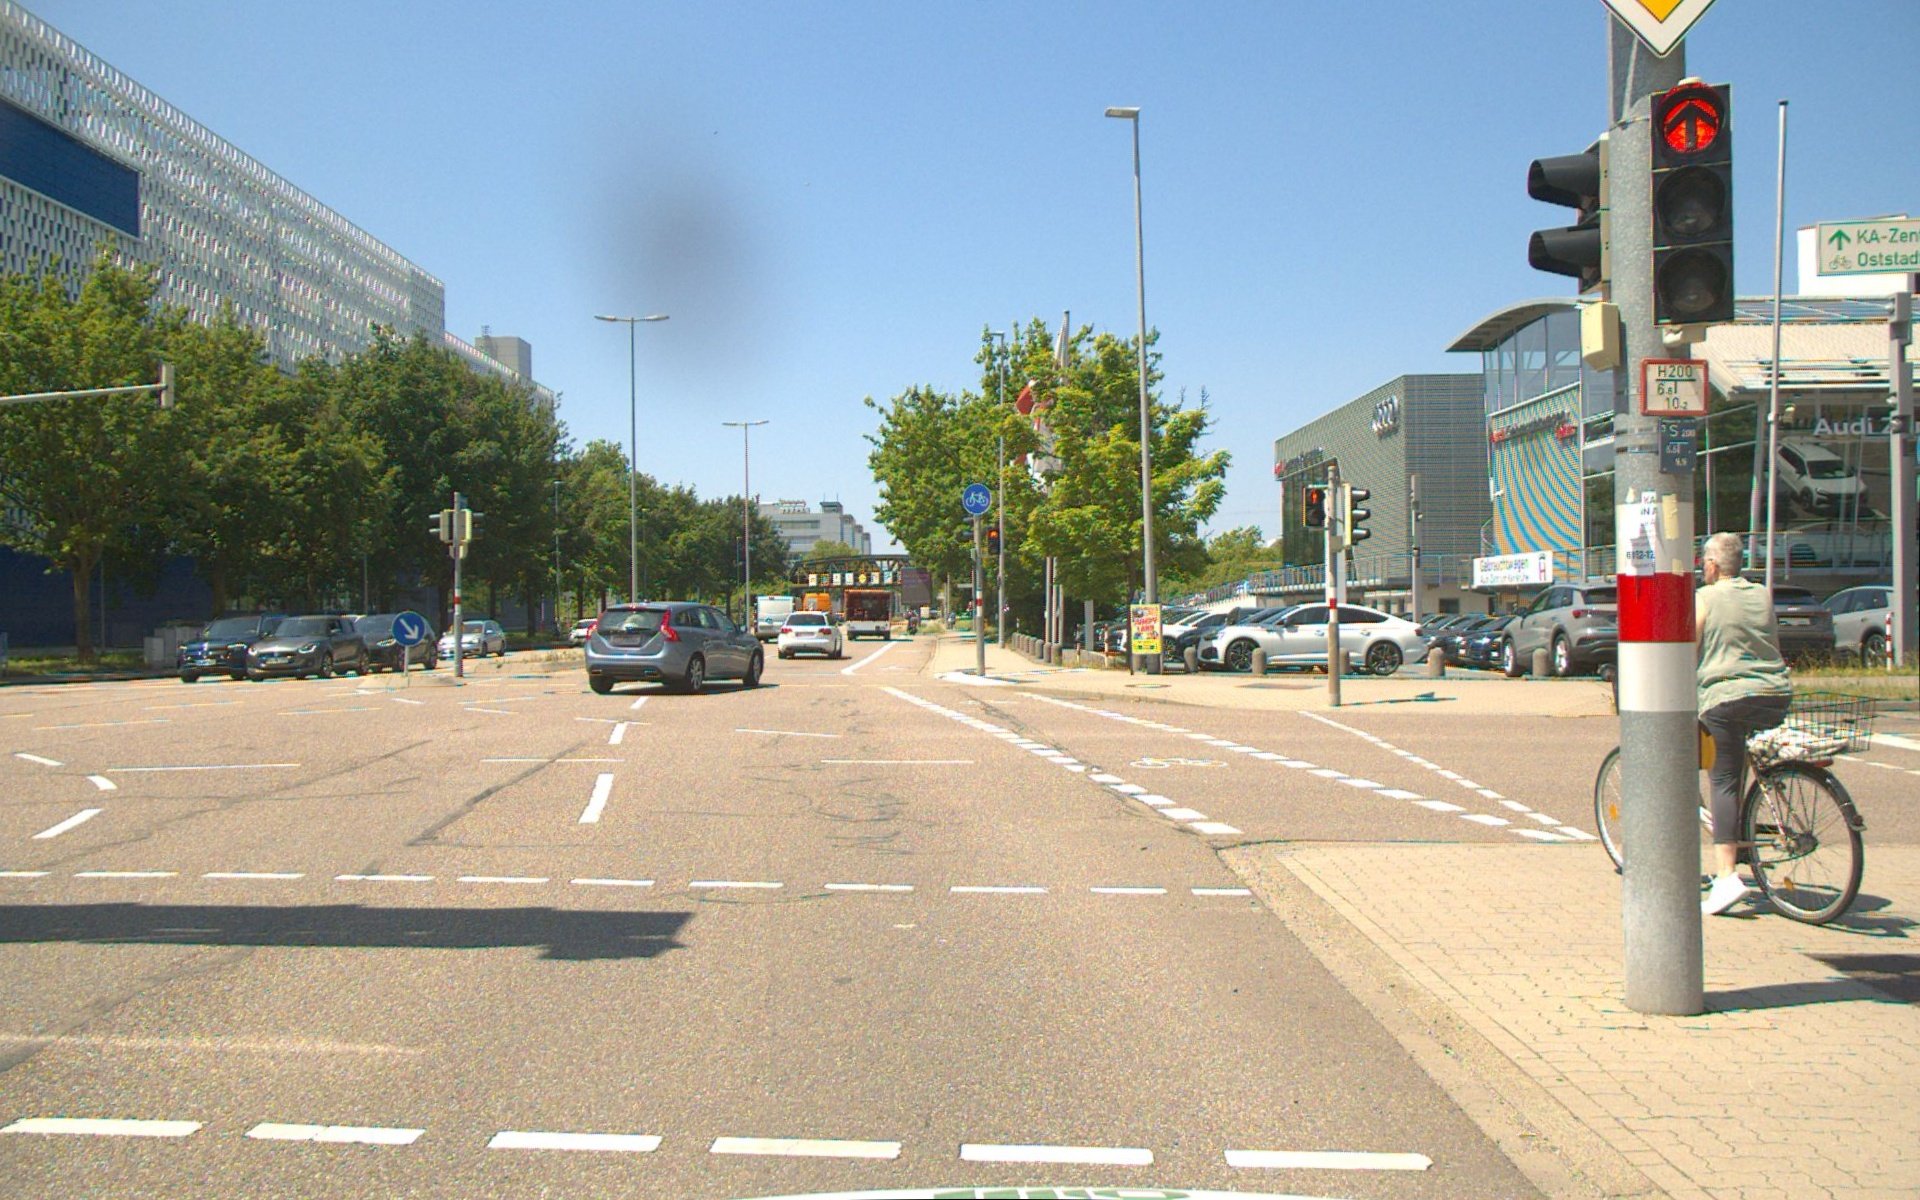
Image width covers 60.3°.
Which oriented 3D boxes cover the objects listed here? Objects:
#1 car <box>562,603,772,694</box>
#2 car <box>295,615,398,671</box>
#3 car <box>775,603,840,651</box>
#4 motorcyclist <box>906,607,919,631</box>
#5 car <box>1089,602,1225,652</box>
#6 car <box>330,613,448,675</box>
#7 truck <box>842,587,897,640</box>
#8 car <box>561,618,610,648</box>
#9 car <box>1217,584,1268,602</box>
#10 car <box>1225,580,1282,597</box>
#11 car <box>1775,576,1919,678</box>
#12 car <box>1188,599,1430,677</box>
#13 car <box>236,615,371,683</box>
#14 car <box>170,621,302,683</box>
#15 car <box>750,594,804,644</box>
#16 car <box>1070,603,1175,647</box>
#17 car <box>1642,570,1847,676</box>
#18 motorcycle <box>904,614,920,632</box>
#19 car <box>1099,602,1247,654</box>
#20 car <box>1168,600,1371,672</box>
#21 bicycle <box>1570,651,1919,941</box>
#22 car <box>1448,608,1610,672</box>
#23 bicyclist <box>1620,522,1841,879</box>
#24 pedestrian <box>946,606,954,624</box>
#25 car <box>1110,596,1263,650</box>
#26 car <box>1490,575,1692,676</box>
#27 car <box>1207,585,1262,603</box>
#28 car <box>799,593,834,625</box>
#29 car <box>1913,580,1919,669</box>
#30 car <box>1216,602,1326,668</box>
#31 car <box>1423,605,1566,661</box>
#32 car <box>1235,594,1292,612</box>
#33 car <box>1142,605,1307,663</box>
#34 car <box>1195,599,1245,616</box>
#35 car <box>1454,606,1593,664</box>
[{"bbox_3d":[-4.819,0.775,27.866,1.860,1.400,4.234,-1,0,15],"label":"car"},{"bbox_3d":[-18.604,1.290,50.323,1.691,1.571,3.914,-2,-1,-1],"label":"car"},{"bbox_3d":[-4.623,0.802,50.419,1.708,1.420,3.528,0,0,-1],"label":"car"},{"bbox_3d":[-3.065,1.207,105.861,0.706,1.556,0.868,1,-1,-11],"label":"motorcyclist"},{"bbox_3d":[6.182,0.832,52.083,4.017,1.429,1.868,2,-1,-1],"label":"car"},{"bbox_3d":[-15.393,1.169,44.796,1.691,1.531,4.243,-3,-1,0],"label":"car"},{"bbox_3d":[-4.417,0.646,81.748,2.408,2.452,7.132,1,0,-1],"label":"truck"},{"bbox_3d":[-19.654,1.722,86.996,1.708,1.512,3.999,-2,-1,-1],"label":"car"},{"bbox_3d":[21.341,-0.493,125.060,3.455,1.261,1.675,1,-1,-5],"label":"car"},{"bbox_3d":[21.480,-0.853,121.119,3.862,1.232,1.715,0,-1,-5],"label":"car"},{"bbox_3d":[16.439,0.484,29.244,1.808,1.683,3.994,2,-1,-5],"label":"car"},{"bbox_3d":[6.963,0.750,33.336,4.497,1.415,1.869,2,-1,1],"label":"car"},{"bbox_3d":[-15.180,1.117,38.448,1.610,1.413,3.715,-3,-1,0],"label":"car"},{"bbox_3d":[-18.346,1.291,42.090,1.627,1.449,4.037,-2,-1,-1],"label":"car"},{"bbox_3d":[-7.866,0.820,71.313,1.953,2.049,3.998,-1,0,-2],"label":"car"},{"bbox_3d":[5.905,0.909,60.399,3.607,1.479,1.833,2,-1,-1],"label":"car"},{"bbox_3d":[13.661,0.391,29.054,1.806,1.683,3.999,2,-1,2],"label":"car"},{"bbox_3d":[-3.081,1.451,105.902,0.703,1.124,1.825,1,-1,-10],"label":"motorcycle"},{"bbox_3d":[6.298,0.832,49.286,4.140,1.415,1.868,2,-1,-1],"label":"car"},{"bbox_3d":[6.647,0.768,35.768,4.013,1.415,1.868,2,-1,-1],"label":"car"},{"bbox_3d":[3.716,0.864,8.019,0.616,1.153,1.892,0,1,-7],"label":"bicycle"},{"bbox_3d":[15.804,1.094,46.056,3.904,1.650,1.656,2,-1,-1],"label":"car"},{"bbox_3d":[3.718,0.466,8.033,0.616,1.634,0.824,1,-1,-8],"label":"bicyclist"},{"bbox_3d":[-0.771,1.201,131.860,0.611,1.399,0.564,-1,-1,-3],"label":"pedestrian"},{"bbox_3d":[6.324,0.646,46.577,4.016,1.372,1.868,2,-1,-1],"label":"car"},{"bbox_3d":[11.012,0.479,29.232,1.830,1.586,4.503,-2,-2,0],"label":"car"},{"bbox_3d":[21.540,-0.454,129.714,3.909,1.335,1.795,1,-1,-5],"label":"car"},{"bbox_3d":[-9.485,0.604,109.788,1.953,2.049,4.811,1,0,-1],"label":"car"},{"bbox_3d":[18.724,0.480,28.986,1.604,1.644,3.814,0,1,-5],"label":"car"},{"bbox_3d":[7.406,0.818,39.773,1.824,1.444,4.663,2,-1,1],"label":"car"},{"bbox_3d":[16.628,1.022,51.584,3.901,1.601,1.633,2,-1,-1],"label":"car"},{"bbox_3d":[21.451,0.208,116.808,3.652,1.150,1.682,1,-1,-5],"label":"car"},{"bbox_3d":[6.958,0.889,43.796,4.013,1.388,1.874,2,-1,-1],"label":"car"},{"bbox_3d":[22.245,0.663,141.838,3.909,1.335,1.795,-1,-1,-5],"label":"car"},{"bbox_3d":[16.800,1.036,49.420,3.573,1.608,1.642,2,-1,-1],"label":"car"}]
